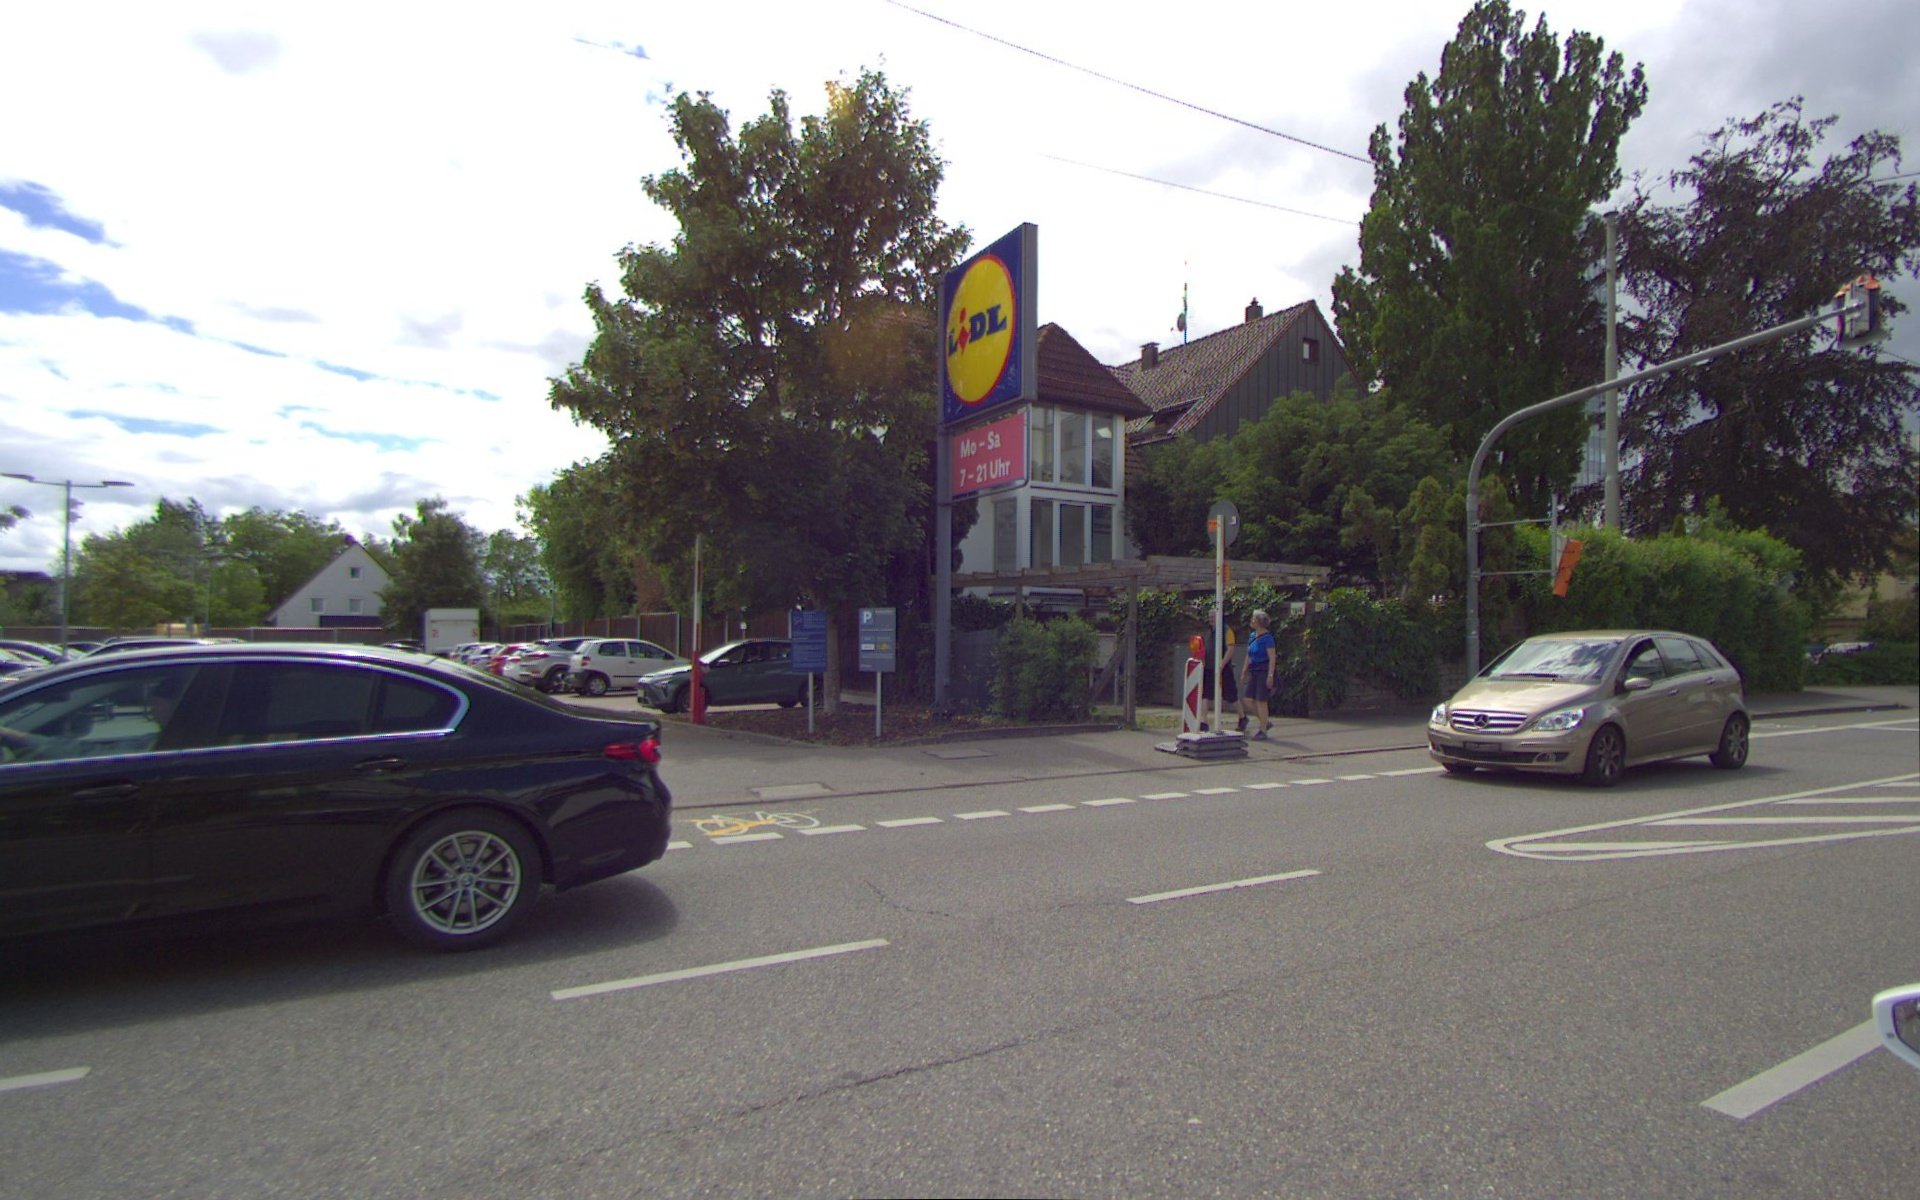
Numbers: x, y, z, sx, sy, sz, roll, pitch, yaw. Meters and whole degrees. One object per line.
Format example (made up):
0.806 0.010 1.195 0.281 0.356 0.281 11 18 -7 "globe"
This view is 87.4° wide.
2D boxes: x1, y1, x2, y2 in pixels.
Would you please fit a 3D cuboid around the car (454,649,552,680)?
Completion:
-21.753 3.048 47.824 3.959 1.416 1.981 2 -3 -34 "car"

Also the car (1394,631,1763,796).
7.116 1.154 11.454 4.350 1.576 1.741 1 -3 -30 "car"

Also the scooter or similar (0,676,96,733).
-16.524 1.877 18.195 1.216 0.956 0.650 1 -3 -33 "scooter or similar"

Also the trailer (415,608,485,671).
-30.477 2.385 59.952 3.318 3.532 6.128 1 -3 -31 "trailer"

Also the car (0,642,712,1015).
-3.835 0.940 4.907 4.755 1.418 1.985 2 -4 -31 "car"

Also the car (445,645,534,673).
-24.511 3.046 52.342 3.959 1.416 1.981 2 -3 -34 "car"

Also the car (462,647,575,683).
-18.124 2.638 41.280 3.959 1.416 1.981 2 -3 -34 "car"

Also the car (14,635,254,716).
-18.820 1.672 23.169 3.953 1.718 1.984 1 -3 -30 "car"

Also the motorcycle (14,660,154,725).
-17.529 1.826 20.174 0.844 1.208 1.957 -1 -3 14 "motorcycle"

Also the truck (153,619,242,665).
-48.540 2.681 64.050 4.265 2.807 1.983 2 -3 -31 "truck"

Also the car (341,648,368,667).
-42.513 4.043 70.479 1.569 1.284 3.966 1 -3 -32 "car"

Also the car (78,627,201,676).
-42.486 2.654 52.158 4.646 2.426 1.983 2 -3 -31 "car"

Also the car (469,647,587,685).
-16.900 2.541 39.379 3.959 1.416 1.981 2 -3 -34 "car"

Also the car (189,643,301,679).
-32.583 2.759 45.920 3.953 1.605 1.984 1 -3 -30 "car"

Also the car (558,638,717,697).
-9.206 1.880 28.759 3.959 1.572 1.981 2 -3 -34 "car"

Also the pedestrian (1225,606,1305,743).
4.340 1.041 14.291 0.882 1.879 0.678 2 -2 -30 "pedestrian"

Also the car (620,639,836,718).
-4.777 1.558 20.731 3.953 1.472 1.984 2 -3 -30 "car"

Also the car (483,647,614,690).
-14.465 2.358 35.372 3.959 1.416 1.981 2 -3 -34 "car"

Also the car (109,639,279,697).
-23.759 2.078 31.383 3.953 1.718 1.984 1 -3 -30 "car"

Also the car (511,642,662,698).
-11.305 2.070 30.456 3.959 1.572 1.981 2 -3 -34 "car"

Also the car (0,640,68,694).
-30.042 2.009 30.352 4.265 1.593 1.983 2 -3 -31 "car"

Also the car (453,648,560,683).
-19.615 2.815 43.521 3.959 1.416 1.981 2 -3 -34 "car"

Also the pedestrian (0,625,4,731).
-17.206 1.370 17.559 0.605 1.884 0.418 1 -2 -33 "pedestrian"

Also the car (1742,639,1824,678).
33.767 2.358 41.202 3.398 1.535 1.652 1 -2 -32 "car"

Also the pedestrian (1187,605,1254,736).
3.861 1.026 14.897 0.698 1.879 0.678 2 -2 -30 "pedestrian"

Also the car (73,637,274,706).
-20.859 1.855 26.878 3.953 1.718 1.984 1 -3 -30 "car"

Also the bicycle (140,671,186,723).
-16.409 1.982 20.714 0.309 0.969 1.647 1 -2 -23 "bicycle"

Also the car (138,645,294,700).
-24.843 2.394 33.723 3.953 1.718 1.984 1 -3 -30 "car"
